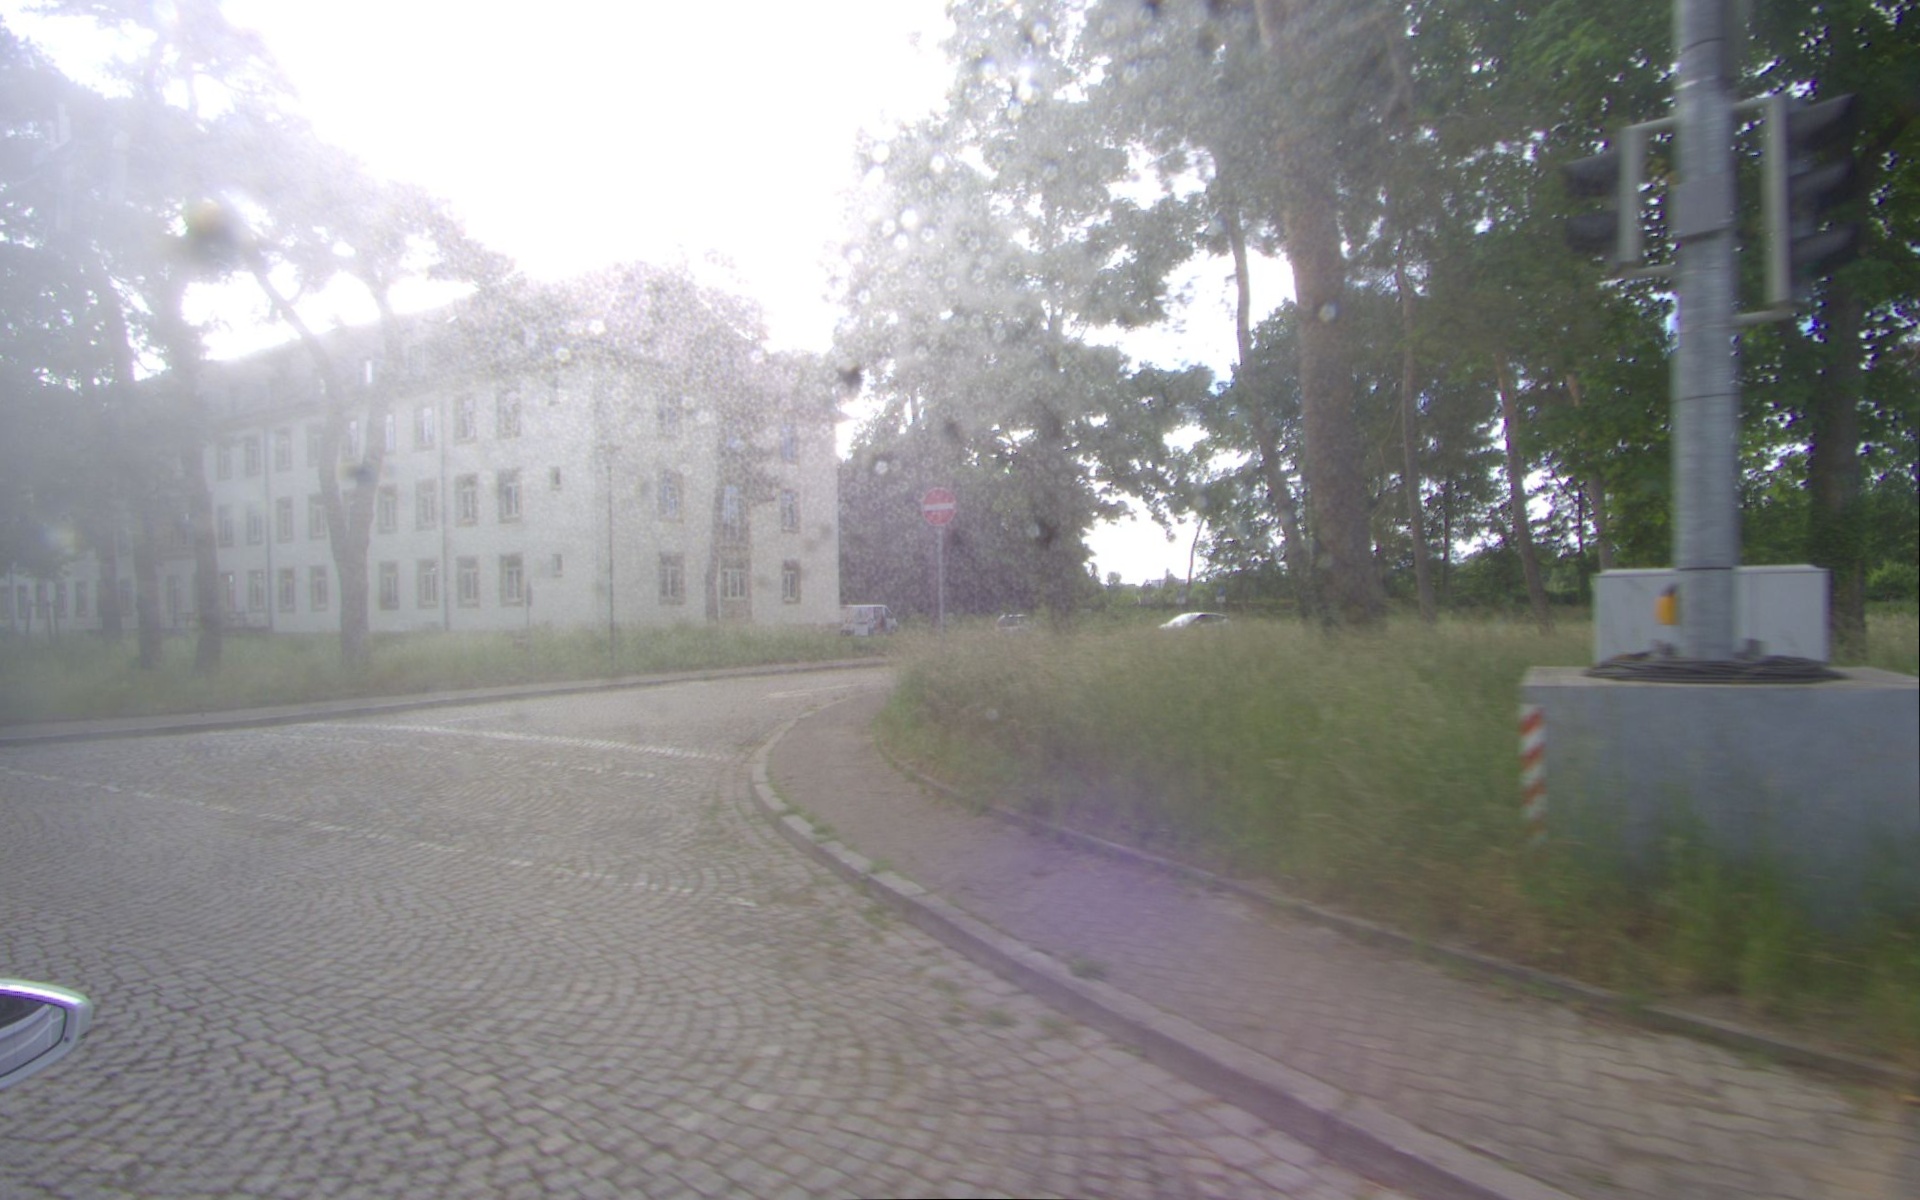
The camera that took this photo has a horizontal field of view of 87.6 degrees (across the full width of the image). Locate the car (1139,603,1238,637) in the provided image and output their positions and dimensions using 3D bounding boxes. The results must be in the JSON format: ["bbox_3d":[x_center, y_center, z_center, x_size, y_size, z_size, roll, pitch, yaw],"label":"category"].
[{"bbox_3d":[10.171,0.874,44.560,4.198,1.434,1.877,0,-1,-32],"label":"car"}]

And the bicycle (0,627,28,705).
[{"bbox_3d":[-15.681,1.041,15.785,1.845,1.192,0.908,-1,0,29],"label":"bicycle"}]

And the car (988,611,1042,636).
[{"bbox_3d":[3.439,1.436,62.106,1.970,1.527,3.477,-1,-1,30],"label":"car"}]

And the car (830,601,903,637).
[{"bbox_3d":[-6.173,1.243,66.689,2.181,2.318,5.173,-1,-1,30],"label":"car"}]
